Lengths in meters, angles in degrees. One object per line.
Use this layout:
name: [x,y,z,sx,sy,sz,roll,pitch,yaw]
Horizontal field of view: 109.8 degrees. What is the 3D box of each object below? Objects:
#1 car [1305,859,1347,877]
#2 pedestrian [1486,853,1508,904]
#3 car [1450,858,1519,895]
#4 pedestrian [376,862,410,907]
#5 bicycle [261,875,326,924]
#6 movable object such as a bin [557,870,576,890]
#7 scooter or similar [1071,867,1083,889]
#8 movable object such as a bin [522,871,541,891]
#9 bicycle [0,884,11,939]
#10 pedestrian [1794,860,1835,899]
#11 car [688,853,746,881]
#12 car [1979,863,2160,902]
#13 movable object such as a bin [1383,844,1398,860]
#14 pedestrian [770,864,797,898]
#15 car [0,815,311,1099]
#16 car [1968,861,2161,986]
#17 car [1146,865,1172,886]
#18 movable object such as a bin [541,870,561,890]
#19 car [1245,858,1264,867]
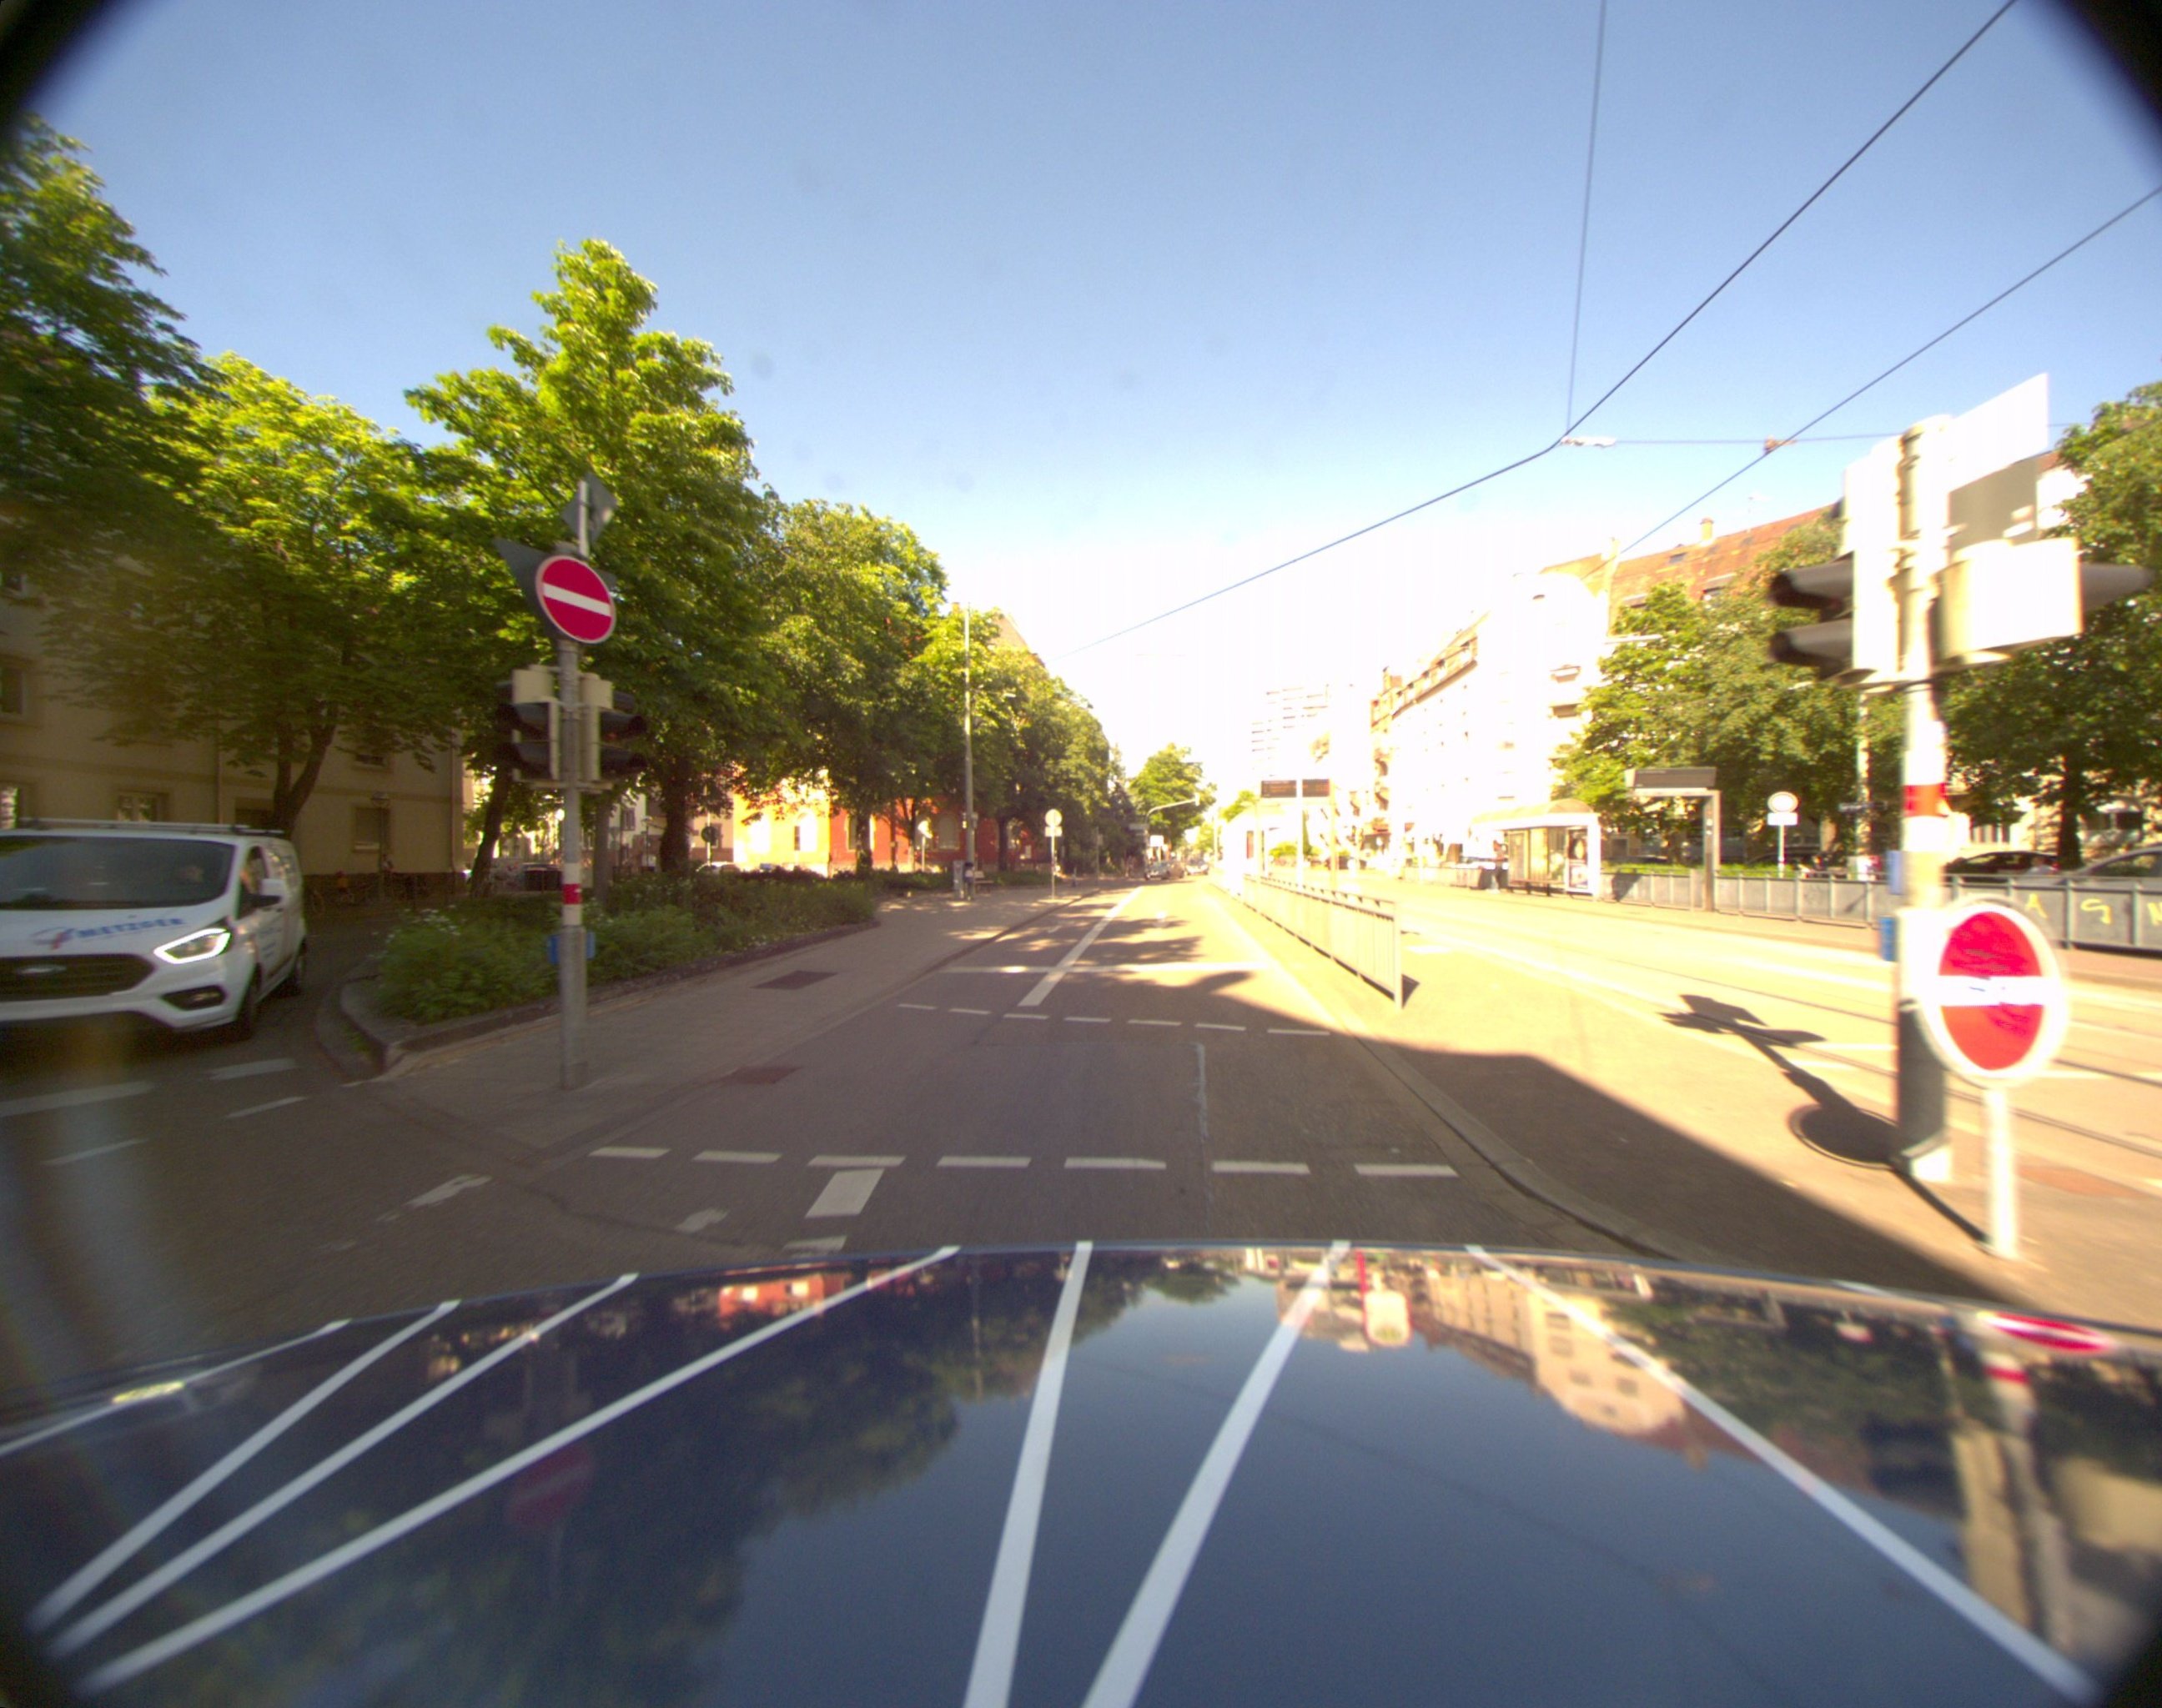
car: [26.173,1.497,81.303,3.884,1.580,1.817,-2,4,2]
pedestrian: [14.653,0.862,26.771,0.466,1.774,0.674,0,0,6]
car: [18.608,0.992,35.195,1.693,1.531,3.802,2,0,10]
pedestrian: [-25.179,1.099,27.813,0.571,1.624,0.630,-2,0,6]
bicycle: [-21.260,1.209,20.546,0.428,1.272,1.487,1,-1,-12]
movable object such as a bin: [-25.650,1.314,37.885,0.641,0.959,0.544,-2,0,35]
scooter or similar: [-0.217,1.356,42.706,0.519,1.241,1.277,0,-2,8]
movable object such as a bin: [-26.499,1.303,36.637,0.641,0.959,0.544,-2,0,35]
bicycle: [-21.939,1.175,14.869,0.462,1.109,1.562,1,0,-26]
pedestrian: [24.551,0.853,25.430,0.658,1.274,0.724,-2,0,7]
car: [-23.897,0.886,49.819,3.793,1.707,1.638,-2,0,33]
car: [33.650,0.926,26.015,1.527,1.208,3.455,-2,0,-7]
movable object such as a bin: [25.377,-0.133,62.316,0.877,1.301,0.748,-2,0,1]
pedestrian: [-10.972,0.985,28.068,0.450,1.224,1.041,-2,0,8]
car: [-9.228,0.807,7.547,1.690,2.079,4.745,-2,0,-40]
car: [15.017,0.933,10.015,1.901,1.608,4.267,1,0,7]
car: [5.702,1.550,55.127,1.725,1.390,3.615,-2,0,8]
movable object such as a bin: [-26.041,1.285,37.325,0.641,0.959,0.583,-2,0,35]
car: [31.256,1.526,136.959,3.229,1.411,1.565,-2,0,-40]
